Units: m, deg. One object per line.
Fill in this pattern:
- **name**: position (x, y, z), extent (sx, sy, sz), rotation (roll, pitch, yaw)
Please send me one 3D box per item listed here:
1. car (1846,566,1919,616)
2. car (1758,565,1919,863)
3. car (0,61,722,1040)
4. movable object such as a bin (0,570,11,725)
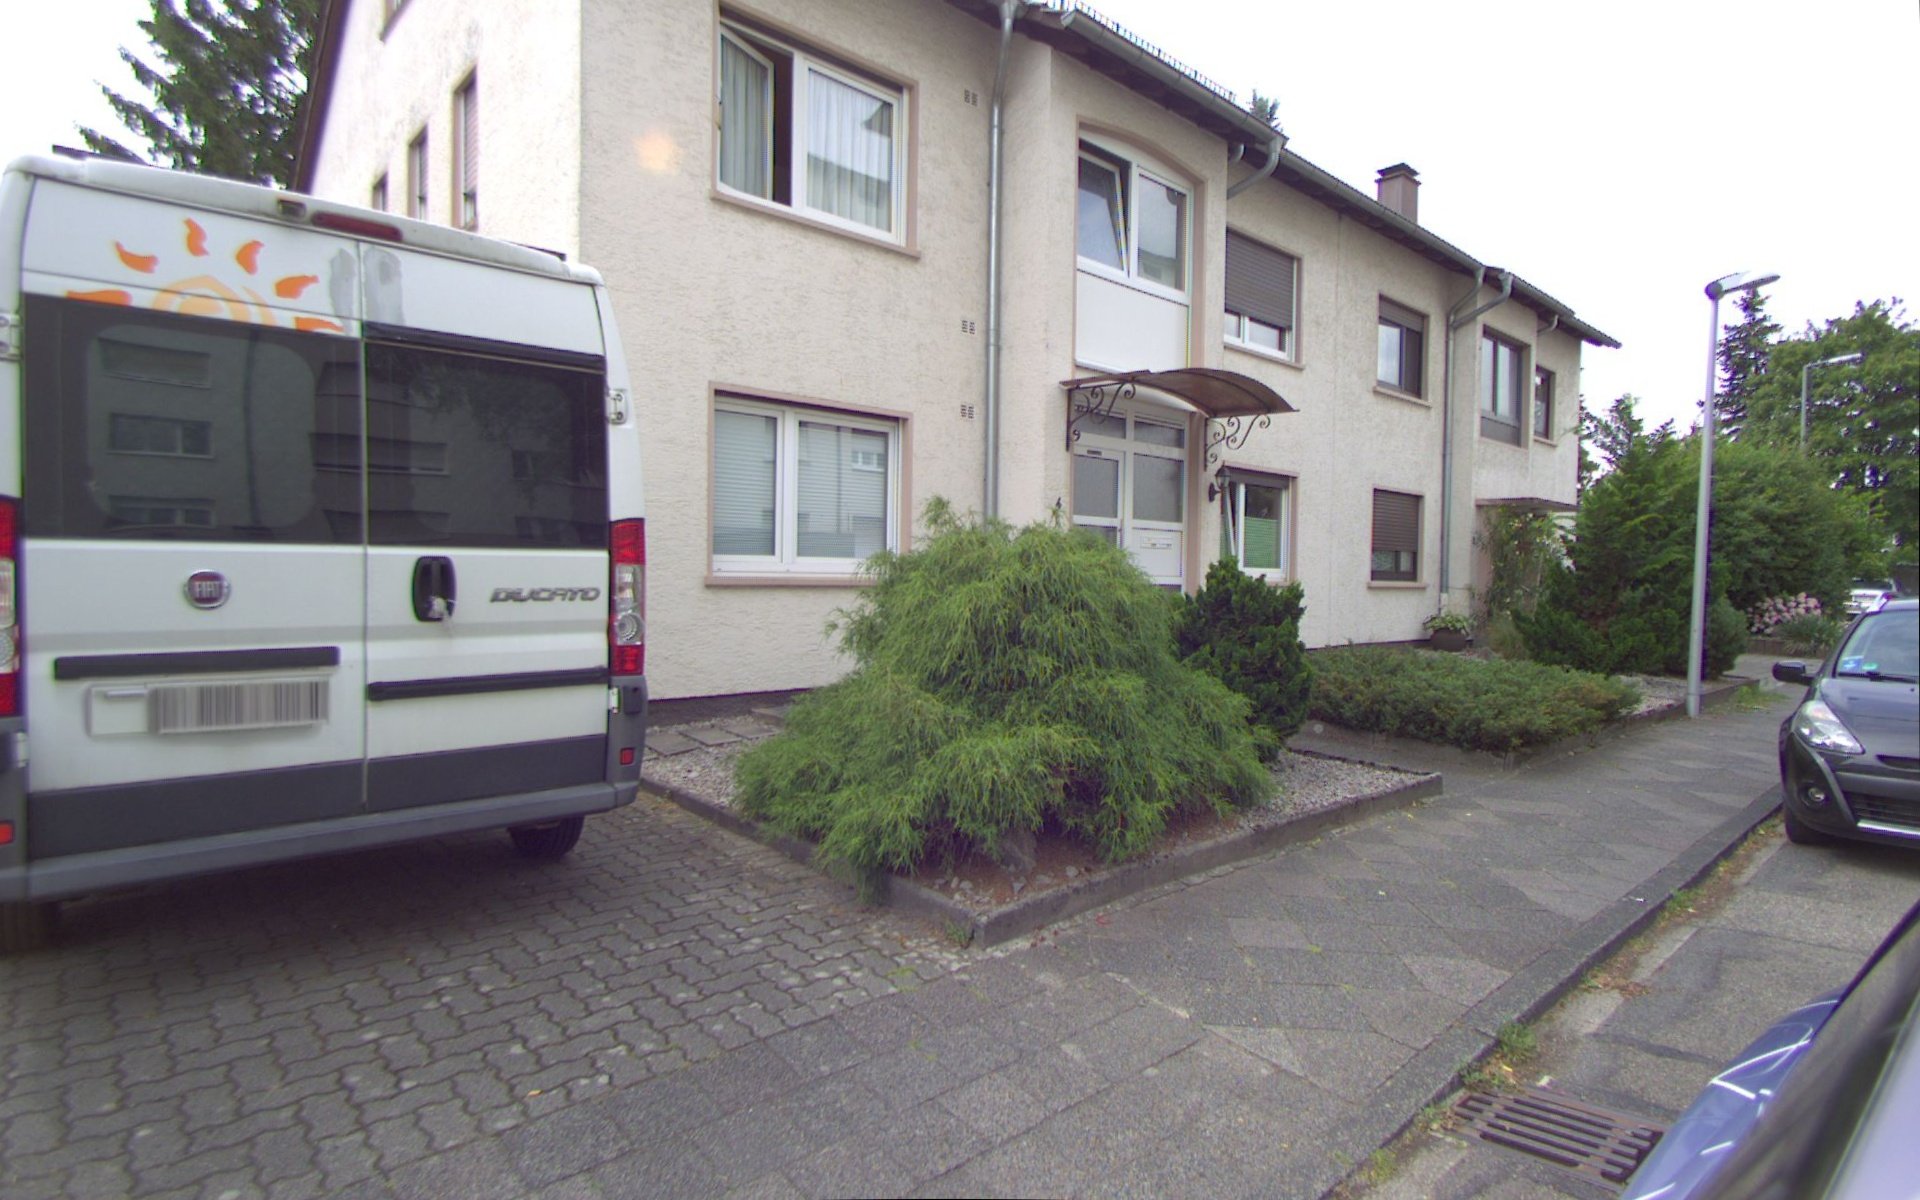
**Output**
- **car**: position (30.389, -0.348, 33.203), extent (3.936, 1.484, 1.702), rotation (-3, 4, -45)
- **car**: position (6.422, 0.549, 6.266), extent (4.122, 1.476, 1.831), rotation (-1, 1, -44)
- **car**: position (-3.461, -0.259, 5.234), extent (2.199, 2.573, 5.098), rotation (0, 3, -41)
- **movable object such as a bin**: position (-7.055, 0.334, 7.122), extent (0.537, 1.069, 0.456), rotation (-1, 4, -43)
